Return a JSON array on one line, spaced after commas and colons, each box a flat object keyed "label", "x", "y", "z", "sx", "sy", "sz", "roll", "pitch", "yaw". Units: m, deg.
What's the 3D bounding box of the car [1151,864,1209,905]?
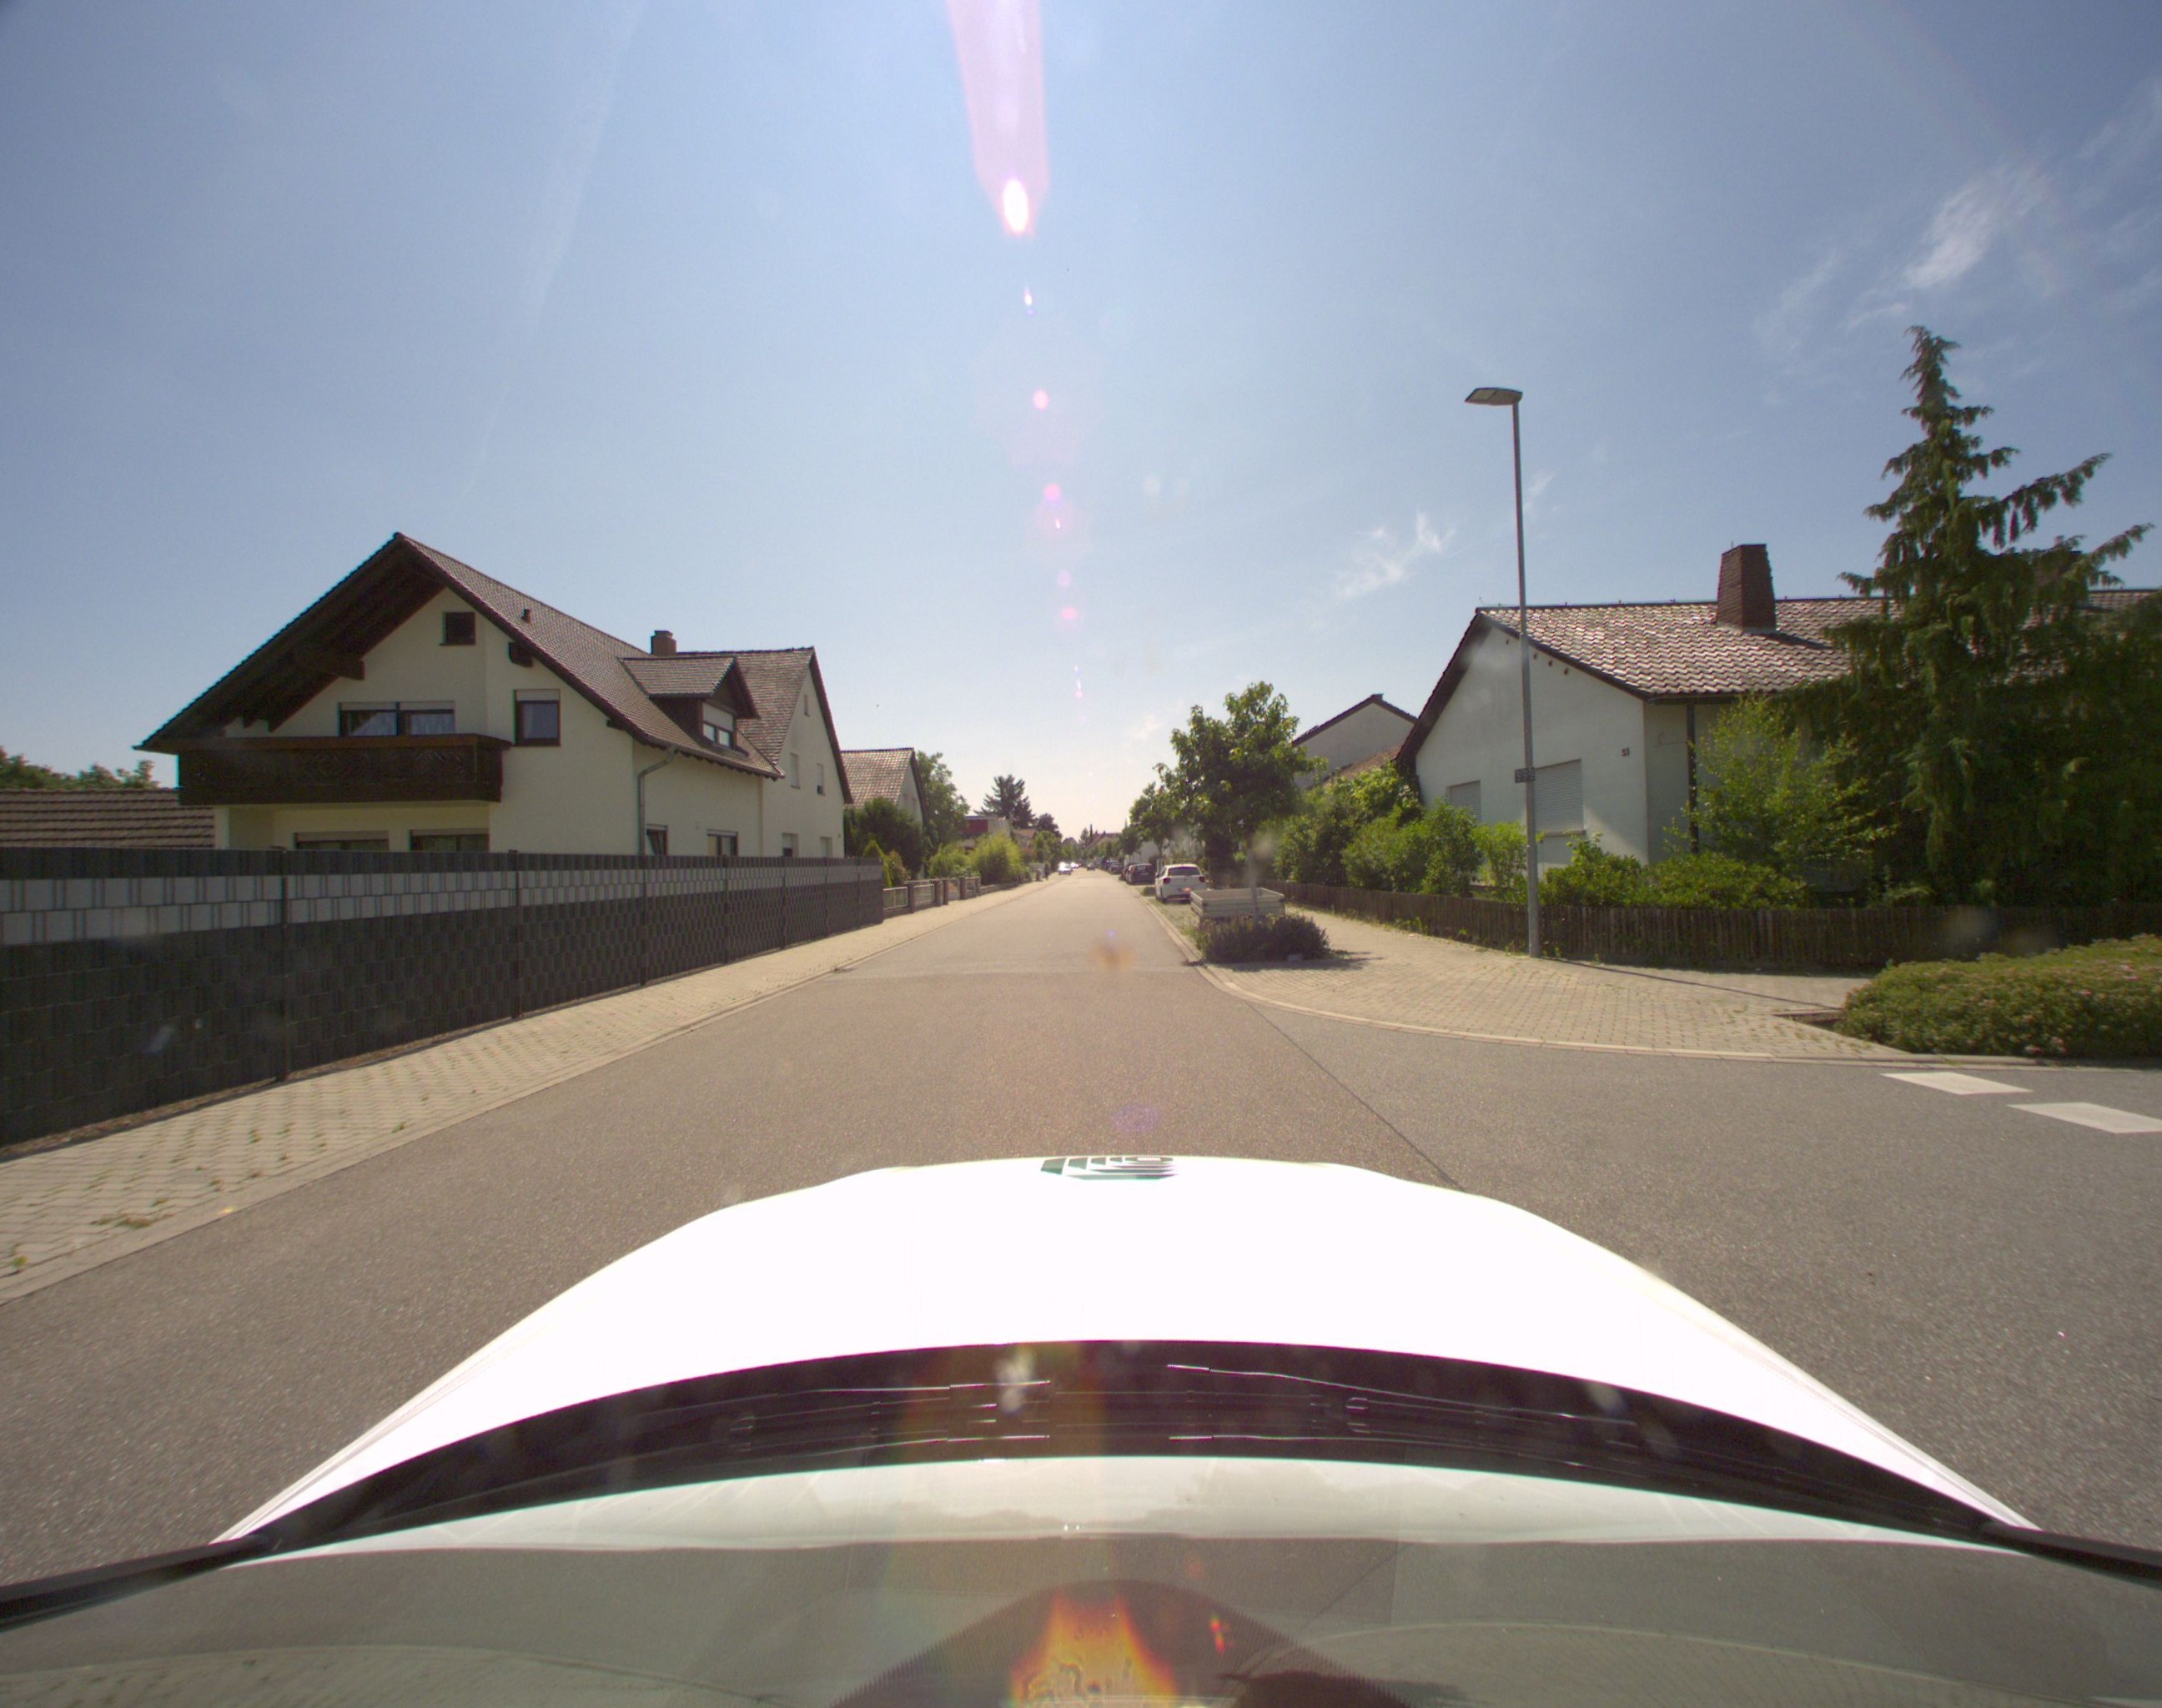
[{"label": "car", "x": 3.774, "y": 1.125, "z": 31.591, "sx": 1.808, "sy": 1.420, "sz": 3.869, "roll": -2, "pitch": 0, "yaw": 1}]

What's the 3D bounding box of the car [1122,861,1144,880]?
[{"label": "car", "x": 4.702, "y": 1.489, "z": 74.301, "sx": 1.808, "sy": 1.656, "sz": 4.565, "roll": -2, "pitch": 0, "yaw": 1}]

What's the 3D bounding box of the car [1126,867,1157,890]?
[{"label": "car", "x": 4.347, "y": 1.745, "z": 59.013, "sx": 1.737, "sy": 1.533, "sz": 4.446, "roll": -1, "pitch": -1, "yaw": -1}]

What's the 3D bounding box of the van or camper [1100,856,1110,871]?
[{"label": "van or camper", "x": 5.073, "y": 2.012, "z": 173.558, "sx": 1.987, "sy": 2.941, "sz": 4.000, "roll": -1, "pitch": -1, "yaw": 0}]

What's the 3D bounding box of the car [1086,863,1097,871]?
[{"label": "car", "x": 2.205, "y": 2.720, "z": 169.121, "sx": 1.986, "sy": 1.430, "sz": 4.002, "roll": -2, "pitch": -1, "yaw": 2}]

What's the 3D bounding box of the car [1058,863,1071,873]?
[{"label": "car", "x": -2.559, "y": 2.101, "z": 126.062, "sx": 1.845, "sy": 1.488, "sz": 4.385, "roll": -1, "pitch": -1, "yaw": 1}]

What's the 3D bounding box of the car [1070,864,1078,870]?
[{"label": "car", "x": -1.965, "y": 3.550, "z": 226.411, "sx": 1.845, "sy": 1.478, "sz": 4.702, "roll": -1, "pitch": -1, "yaw": 2}]

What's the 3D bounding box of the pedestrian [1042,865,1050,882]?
[{"label": "pedestrian", "x": -3.672, "y": 2.019, "z": 84.516, "sx": 0.712, "sy": 1.747, "sz": 0.961, "roll": -1, "pitch": -1, "yaw": 1}]

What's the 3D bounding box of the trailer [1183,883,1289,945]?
[{"label": "trailer", "x": 3.191, "y": 1.220, "z": 17.255, "sx": 1.781, "sy": 1.058, "sz": 2.900, "roll": -2, "pitch": 0, "yaw": 2}]

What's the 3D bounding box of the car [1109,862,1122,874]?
[{"label": "car", "x": 5.685, "y": 2.275, "z": 134.267, "sx": 2.092, "sy": 1.882, "sz": 4.844, "roll": -2, "pitch": -1, "yaw": 1}]

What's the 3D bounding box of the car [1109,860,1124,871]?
[{"label": "car", "x": 5.109, "y": 1.644, "z": 117.386, "sx": 1.768, "sy": 1.595, "sz": 4.276, "roll": -1, "pitch": -1, "yaw": -2}]

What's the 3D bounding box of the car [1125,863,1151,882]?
[{"label": "car", "x": 4.499, "y": 1.440, "z": 64.913, "sx": 1.808, "sy": 1.420, "sz": 4.094, "roll": -2, "pitch": 0, "yaw": 1}]
